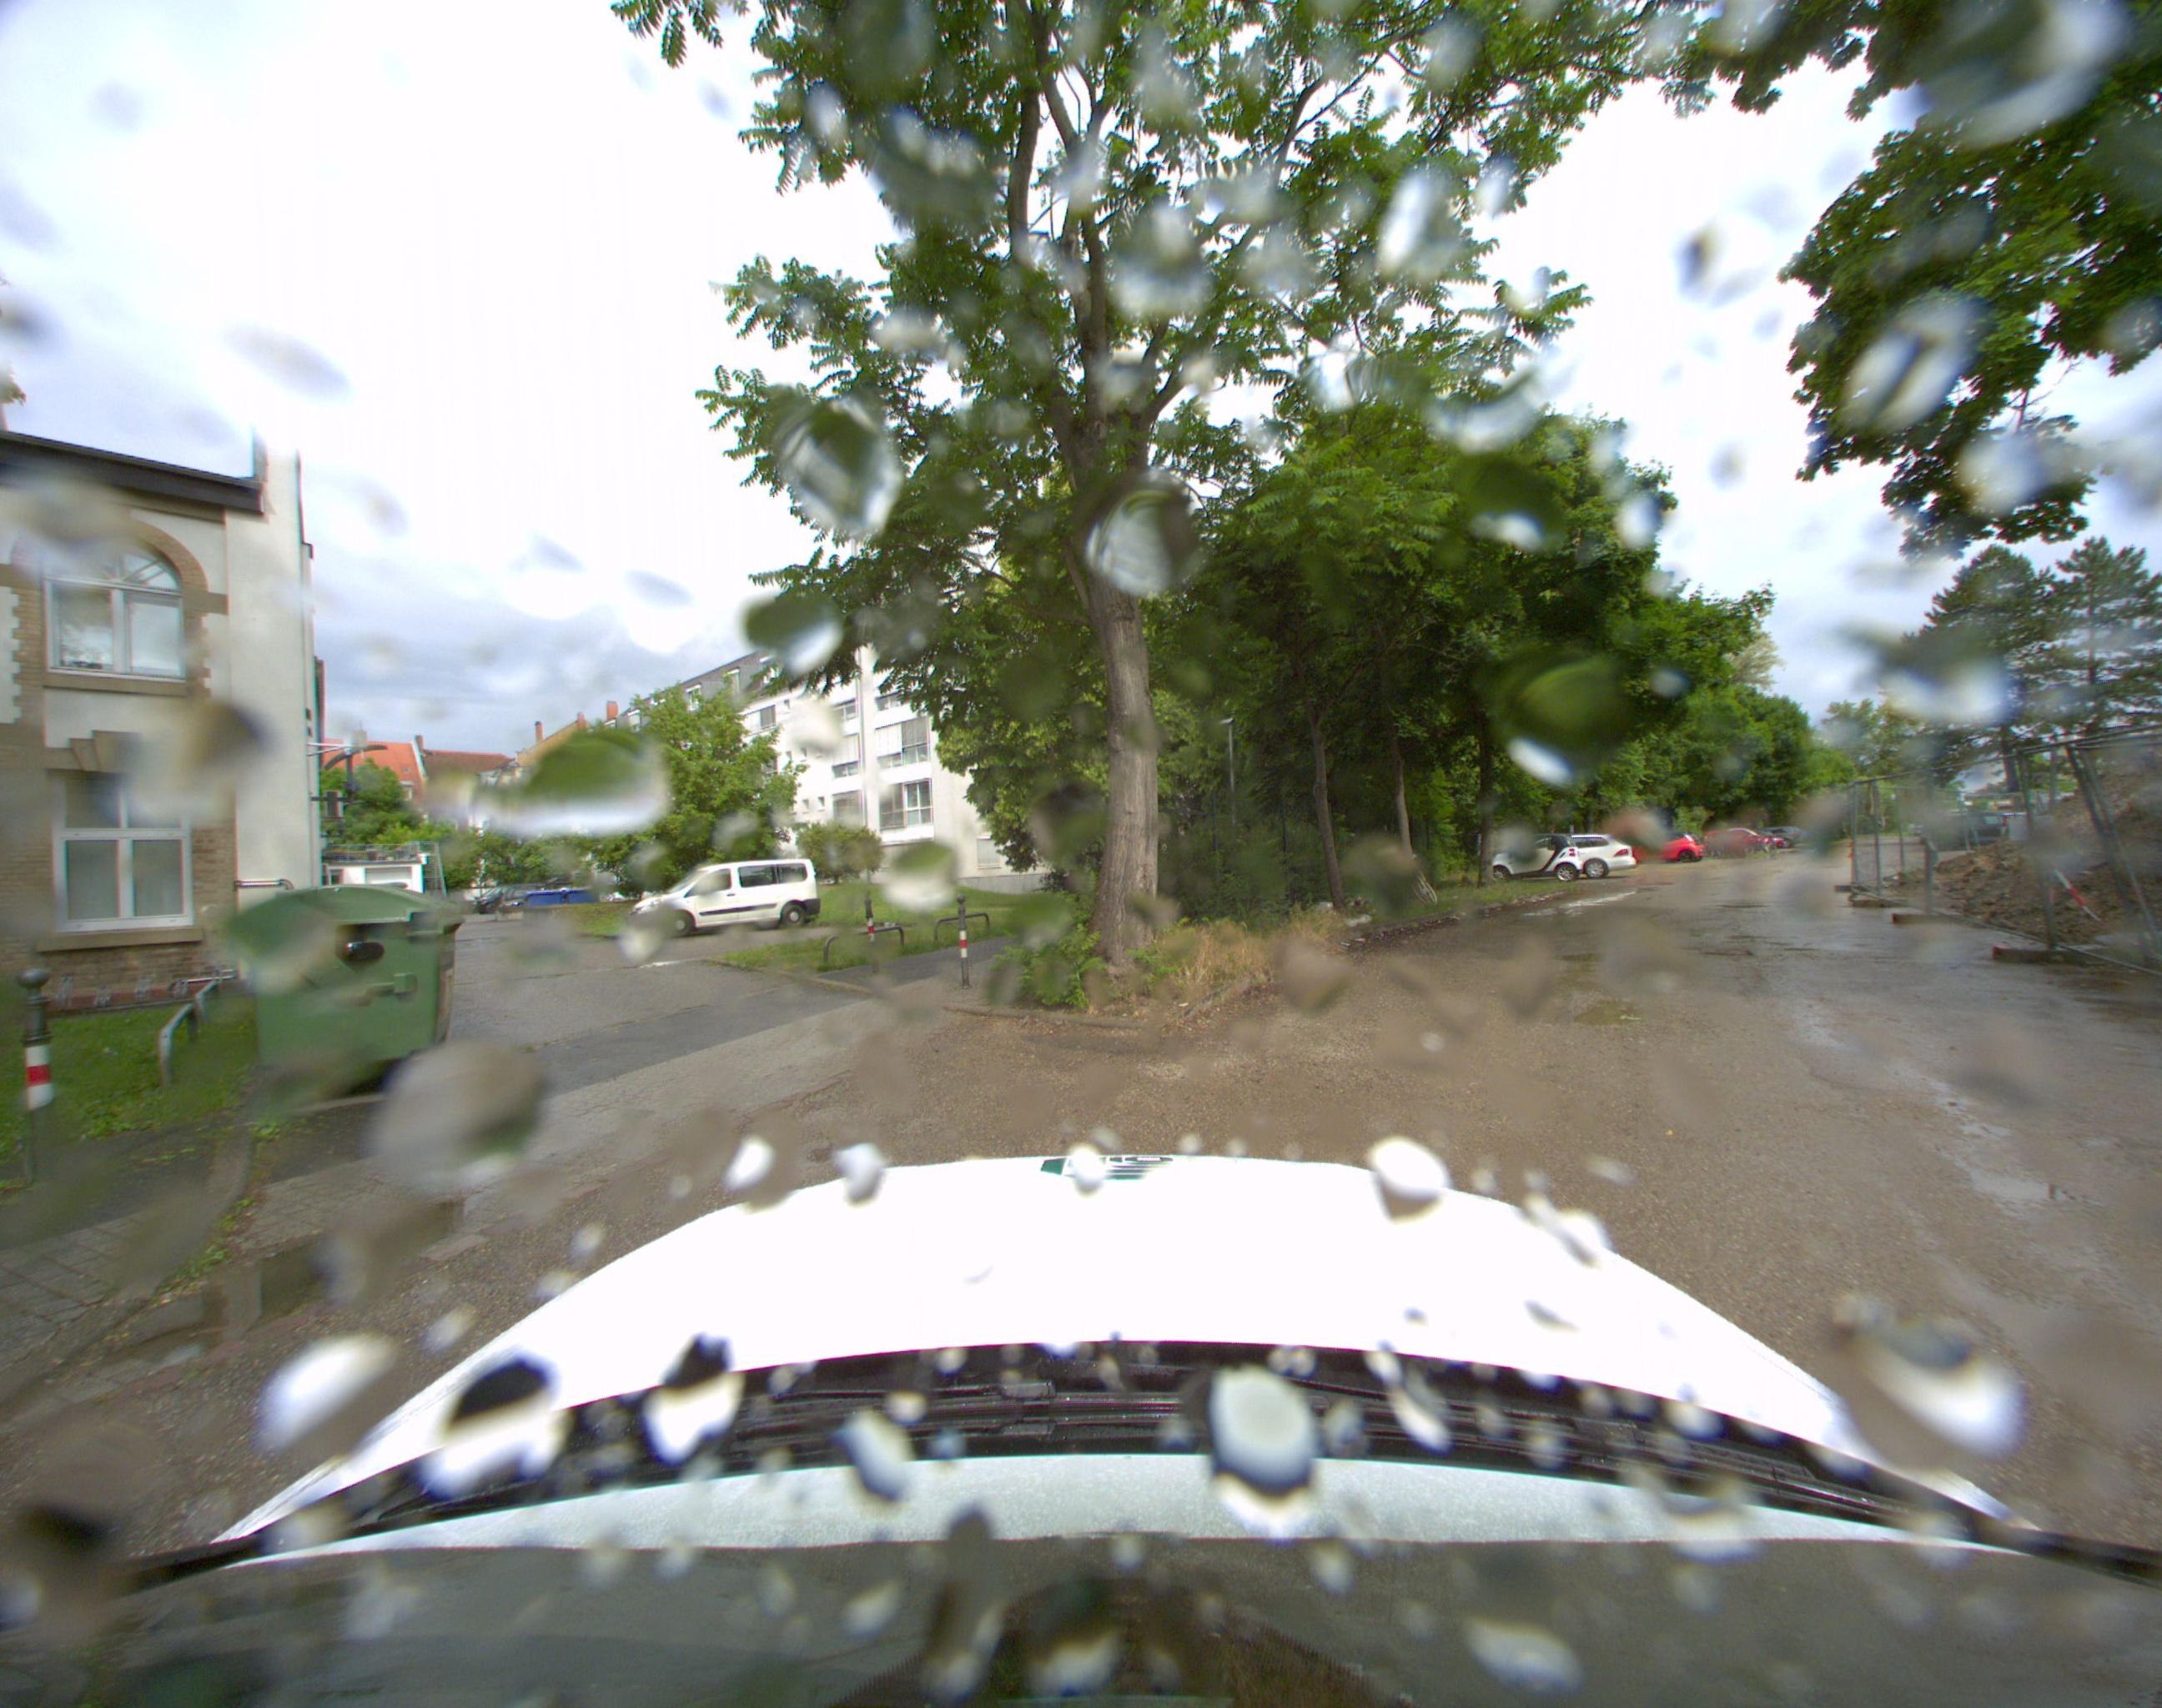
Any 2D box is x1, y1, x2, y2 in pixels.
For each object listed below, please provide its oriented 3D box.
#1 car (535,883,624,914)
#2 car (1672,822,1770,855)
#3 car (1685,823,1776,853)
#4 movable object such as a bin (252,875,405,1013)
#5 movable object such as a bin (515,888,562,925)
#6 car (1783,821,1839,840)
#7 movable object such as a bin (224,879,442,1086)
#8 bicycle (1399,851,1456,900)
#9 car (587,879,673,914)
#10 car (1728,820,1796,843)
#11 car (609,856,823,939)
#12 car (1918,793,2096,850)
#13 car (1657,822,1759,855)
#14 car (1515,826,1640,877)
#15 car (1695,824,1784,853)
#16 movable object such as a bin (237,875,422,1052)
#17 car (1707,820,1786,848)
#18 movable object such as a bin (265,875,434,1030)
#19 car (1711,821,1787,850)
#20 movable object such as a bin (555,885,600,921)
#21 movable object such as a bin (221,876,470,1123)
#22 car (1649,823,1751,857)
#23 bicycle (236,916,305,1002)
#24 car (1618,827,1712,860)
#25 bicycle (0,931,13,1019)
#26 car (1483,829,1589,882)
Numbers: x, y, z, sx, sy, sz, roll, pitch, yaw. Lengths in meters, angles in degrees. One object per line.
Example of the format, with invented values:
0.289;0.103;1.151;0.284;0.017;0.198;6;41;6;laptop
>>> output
-29.268;2.578;47.600;1.750;1.458;4.025;-4;0;41;car
34.921;-0.832;44.488;4.068;1.650;1.858;-1;2;41;car
36.685;-0.876;46.036;3.905;1.516;1.817;-1;2;42;car
-9.436;1.077;10.206;1.574;1.483;1.175;-4;0;41;movable object such as a bin
-21.536;2.067;32.336;1.349;1.292;1.082;-4;1;-42;movable object such as a bin
70.069;-2.251;78.203;3.949;1.711;1.925;-1;2;43;car
-6.373;0.982;6.940;1.385;1.483;1.175;-1;0;40;movable object such as a bin
6.961;0.418;16.315;1.464;0.860;0.471;-4;2;-43;bicycle
-23.332;2.173;42.187;1.667;1.426;3.448;-5;0;44;car
51.685;-1.703;61.822;3.820;1.573;1.970;-1;2;43;car
-9.912;1.134;22.361;4.916;1.926;2.074;-1;-2;-42;car
38.787;-1.341;34.320;2.416;1.940;4.729;-4;-1;-43;car
32.518;-0.797;42.298;2.005;1.496;3.951;-4;2;-44;car
16.523;-0.074;27.149;3.398;1.468;1.752;-3;1;34;car
39.108;-0.913;48.426;3.950;1.560;1.775;-1;2;44;car
-7.346;0.978;7.957;1.385;1.483;1.175;-3;0;42;movable object such as a bin
42.688;-1.260;52.274;3.820;1.573;1.970;-1;2;43;car
-8.222;1.047;9.148;1.478;1.483;1.175;-4;0;41;movable object such as a bin
41.296;-1.122;50.401;3.552;1.620;1.881;-2;2;40;car
-20.598;1.978;33.310;1.304;1.336;1.182;-4;0;-42;movable object such as a bin
-5.223;0.930;5.938;1.109;1.473;1.470;-1;-2;-33;movable object such as a bin
30.957;-0.707;40.804;1.920;1.529;3.759;-4;2;-43;car
-11.849;1.496;11.937;0.621;1.116;1.501;-4;-1;-43;bicycle
27.162;-0.478;37.938;1.601;1.425;3.255;-4;2;-41;car
-13.768;1.540;9.909;0.621;1.116;1.766;-4;-1;-43;bicycle
14.407;0.061;25.801;2.727;1.484;1.603;-3;1;34;car
